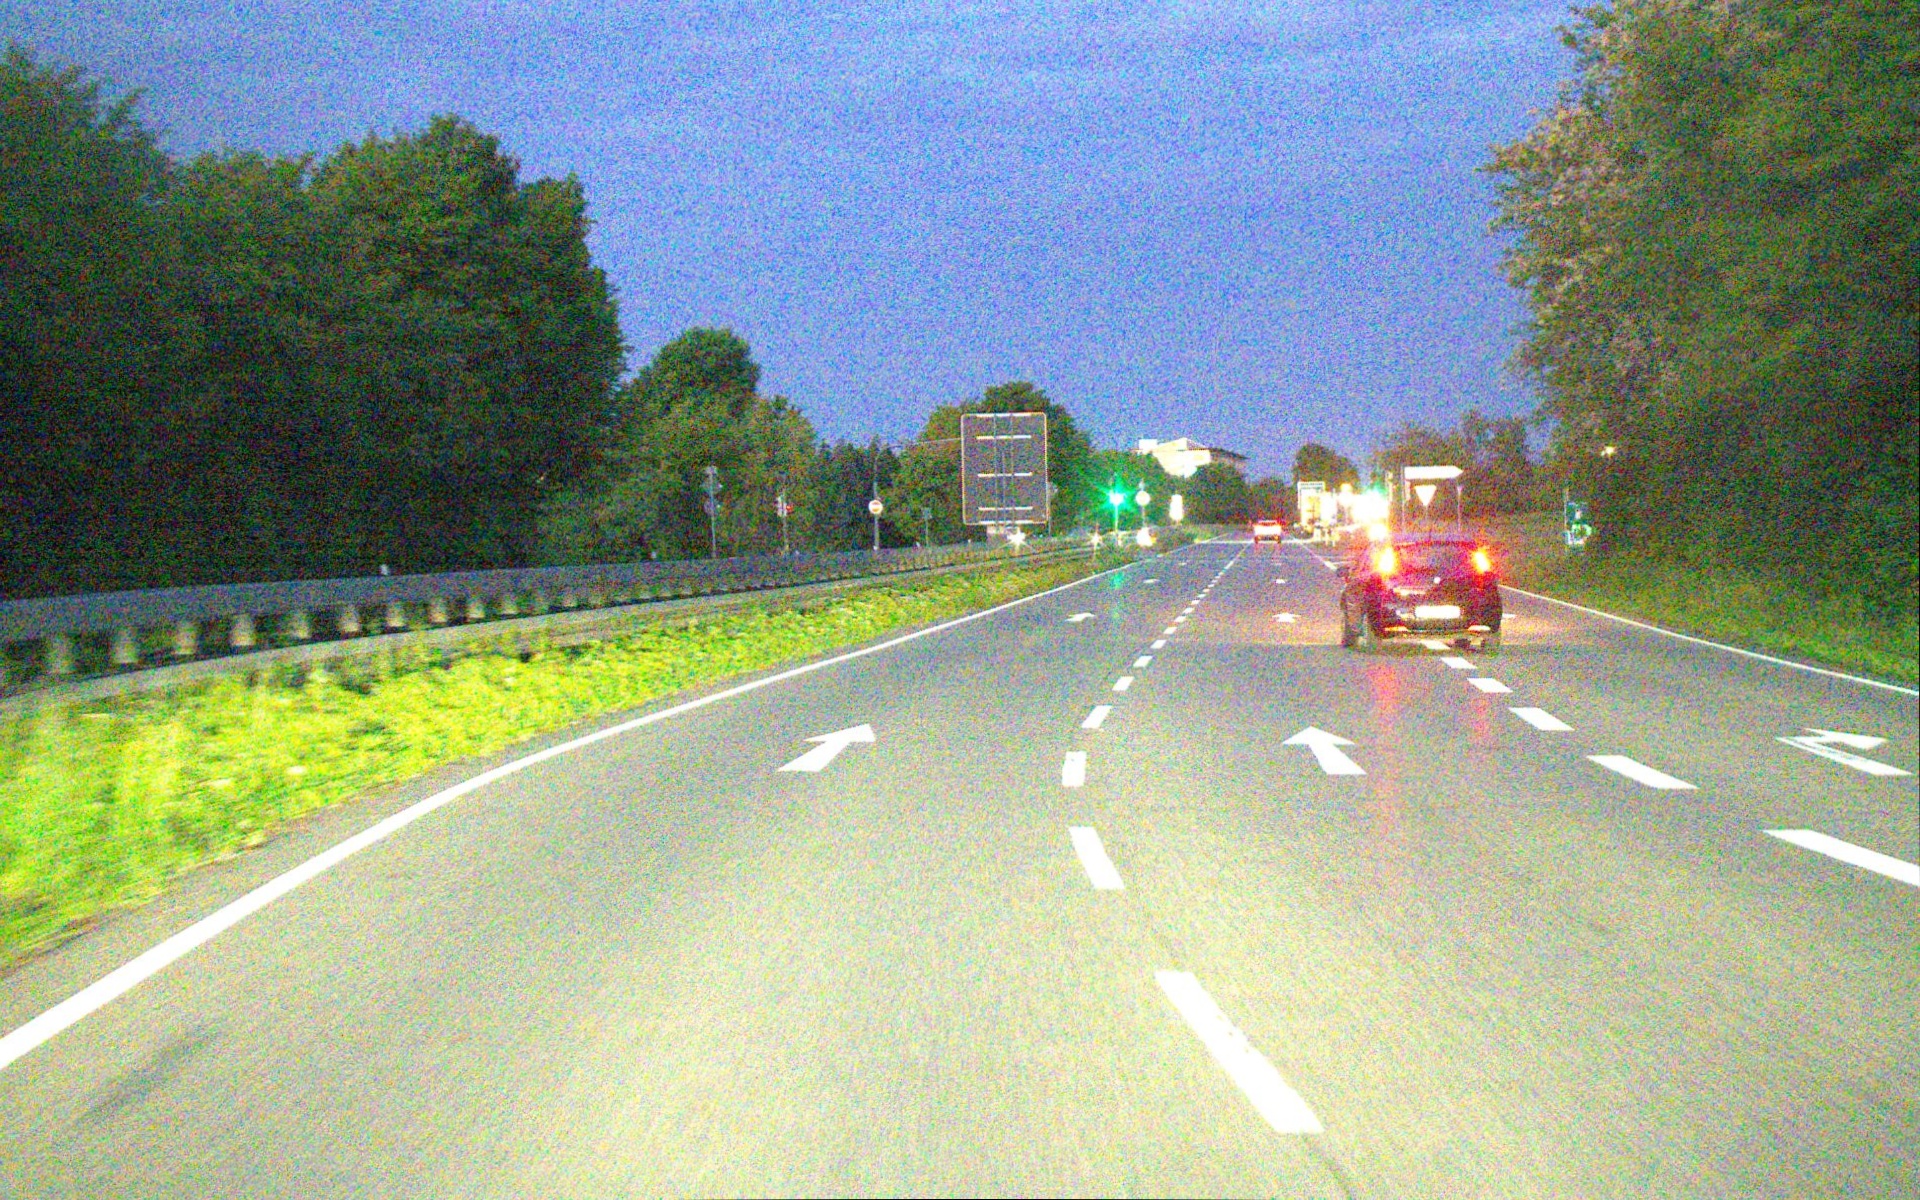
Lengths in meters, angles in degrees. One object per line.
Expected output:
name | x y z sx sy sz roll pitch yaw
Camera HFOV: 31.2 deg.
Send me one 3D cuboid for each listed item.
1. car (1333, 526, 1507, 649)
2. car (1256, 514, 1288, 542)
car | 5.752 -0.200 43.375 1.753 1.448 4.433 -1 1 2
car | 21.609 -4.994 238.349 1.994 1.744 4.000 -4 0 4
